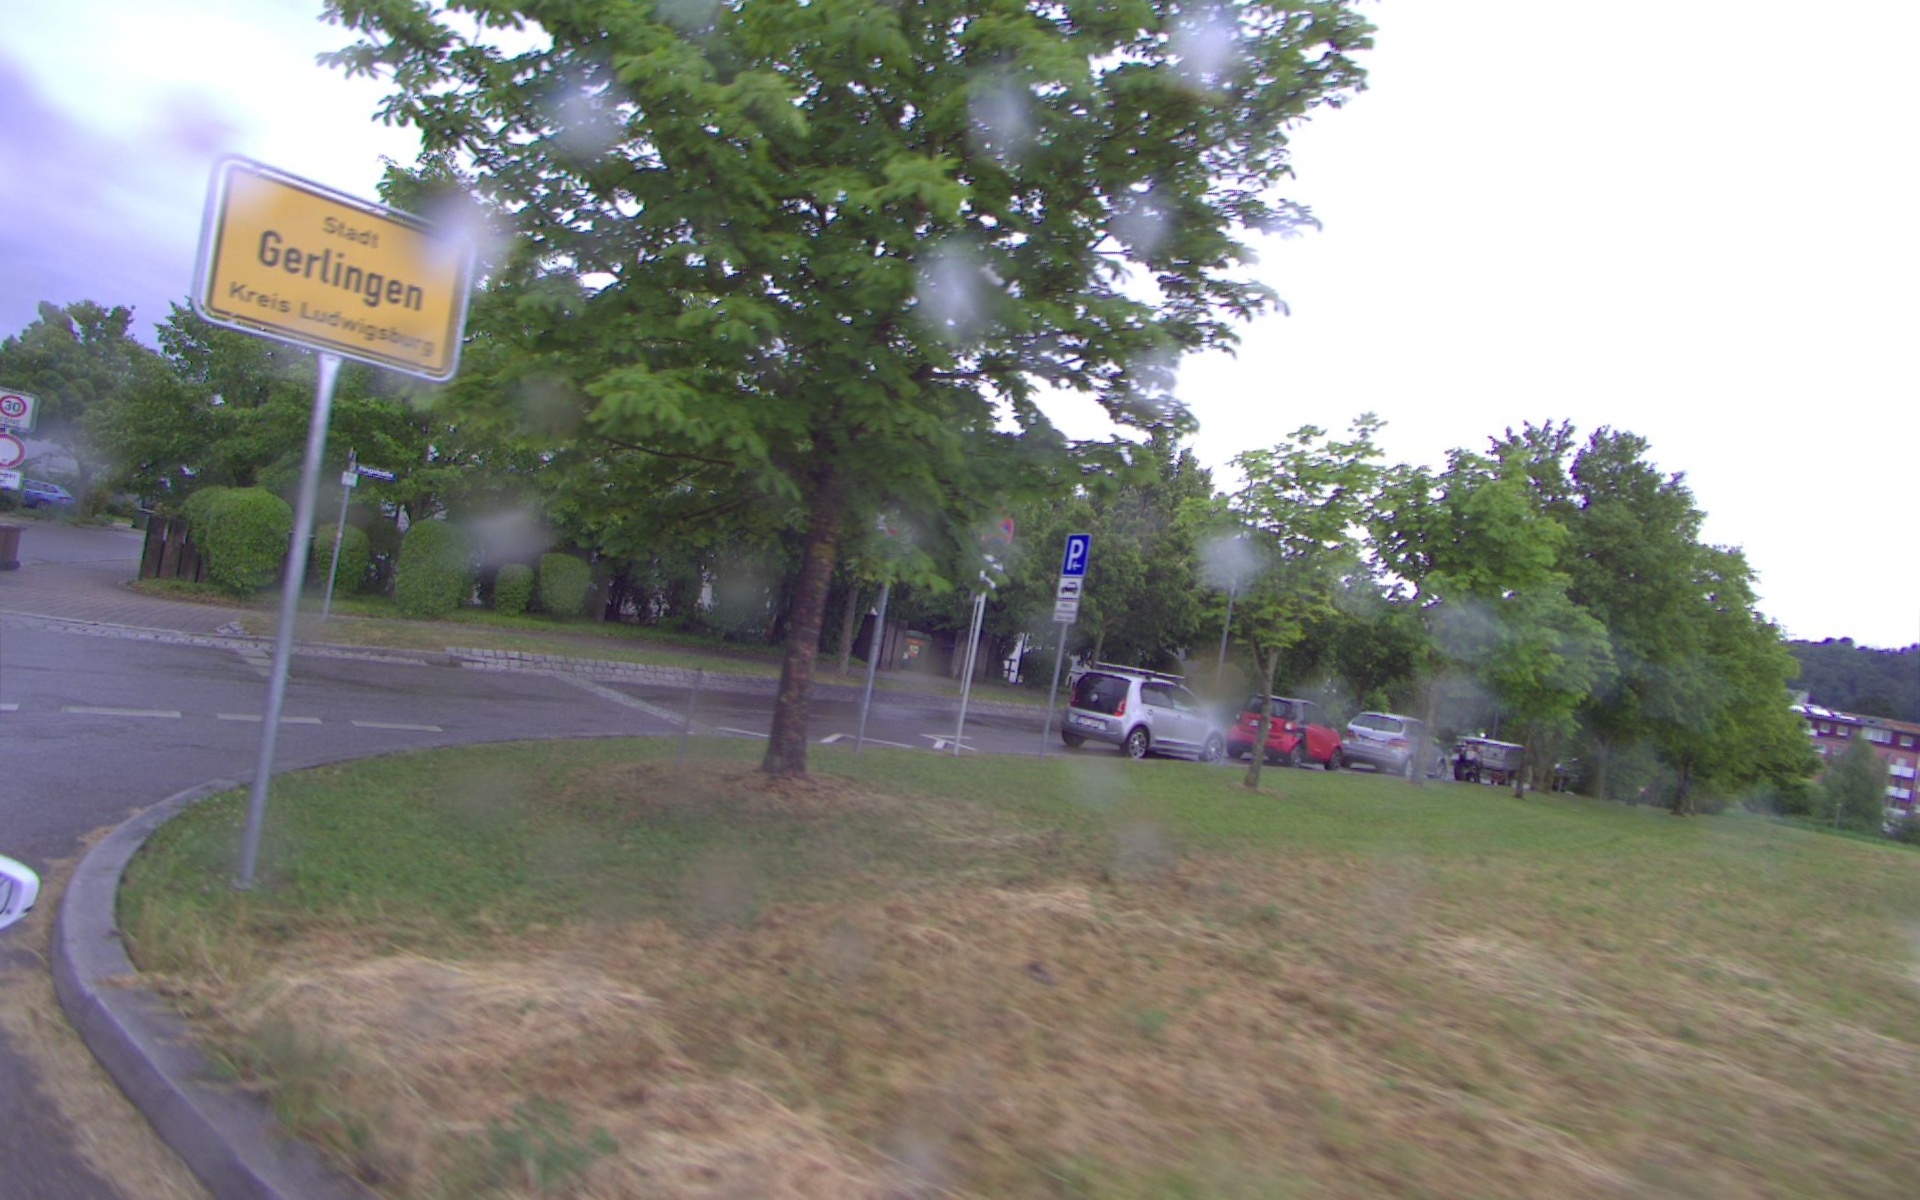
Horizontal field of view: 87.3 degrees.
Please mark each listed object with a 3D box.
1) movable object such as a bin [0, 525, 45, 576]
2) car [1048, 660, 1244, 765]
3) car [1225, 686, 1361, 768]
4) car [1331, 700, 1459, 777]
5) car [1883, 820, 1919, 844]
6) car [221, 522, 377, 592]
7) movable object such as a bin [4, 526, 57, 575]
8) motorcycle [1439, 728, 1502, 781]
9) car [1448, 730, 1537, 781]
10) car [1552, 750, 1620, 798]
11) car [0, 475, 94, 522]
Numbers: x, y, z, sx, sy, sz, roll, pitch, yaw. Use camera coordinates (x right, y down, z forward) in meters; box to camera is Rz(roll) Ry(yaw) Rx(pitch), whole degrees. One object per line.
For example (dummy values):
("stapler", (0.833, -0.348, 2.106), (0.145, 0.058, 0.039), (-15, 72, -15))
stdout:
("movable object such as a bin", (-19.423, -1.024, 20.750), (0.566, 0.941, 0.527), (10, -1, -25))
("car", (3.552, 2.134, 18.885), (3.532, 1.496, 1.660), (10, -2, -41))
("car", (7.653, 2.922, 23.011), (2.995, 1.452, 1.535), (11, -3, -42))
("car", (11.893, 3.794, 27.368), (1.827, 1.569, 3.975), (8, -3, 43))
("car", (114.161, 28.024, 120.374), (5.204, 2.037, 1.993), (7, -2, 40))
("car", (-22.038, -1.422, 33.742), (3.949, 1.684, 1.769), (9, 0, -23))
("movable object such as a bin", (-19.642, -1.040, 21.267), (0.566, 0.941, 0.527), (10, -1, -25))
("motorcycle", (15.388, 4.671, 30.308), (0.958, 1.316, 2.257), (9, -2, 43))
("car", (17.577, 5.144, 33.166), (1.710, 1.295, 3.316), (8, -2, 42))
("car", (28.821, 8.022, 46.253), (1.934, 1.623, 3.992), (9, -4, 41))
("car", (-45.168, -4.998, 49.123), (3.968, 1.585, 1.891), (12, -3, -34))
